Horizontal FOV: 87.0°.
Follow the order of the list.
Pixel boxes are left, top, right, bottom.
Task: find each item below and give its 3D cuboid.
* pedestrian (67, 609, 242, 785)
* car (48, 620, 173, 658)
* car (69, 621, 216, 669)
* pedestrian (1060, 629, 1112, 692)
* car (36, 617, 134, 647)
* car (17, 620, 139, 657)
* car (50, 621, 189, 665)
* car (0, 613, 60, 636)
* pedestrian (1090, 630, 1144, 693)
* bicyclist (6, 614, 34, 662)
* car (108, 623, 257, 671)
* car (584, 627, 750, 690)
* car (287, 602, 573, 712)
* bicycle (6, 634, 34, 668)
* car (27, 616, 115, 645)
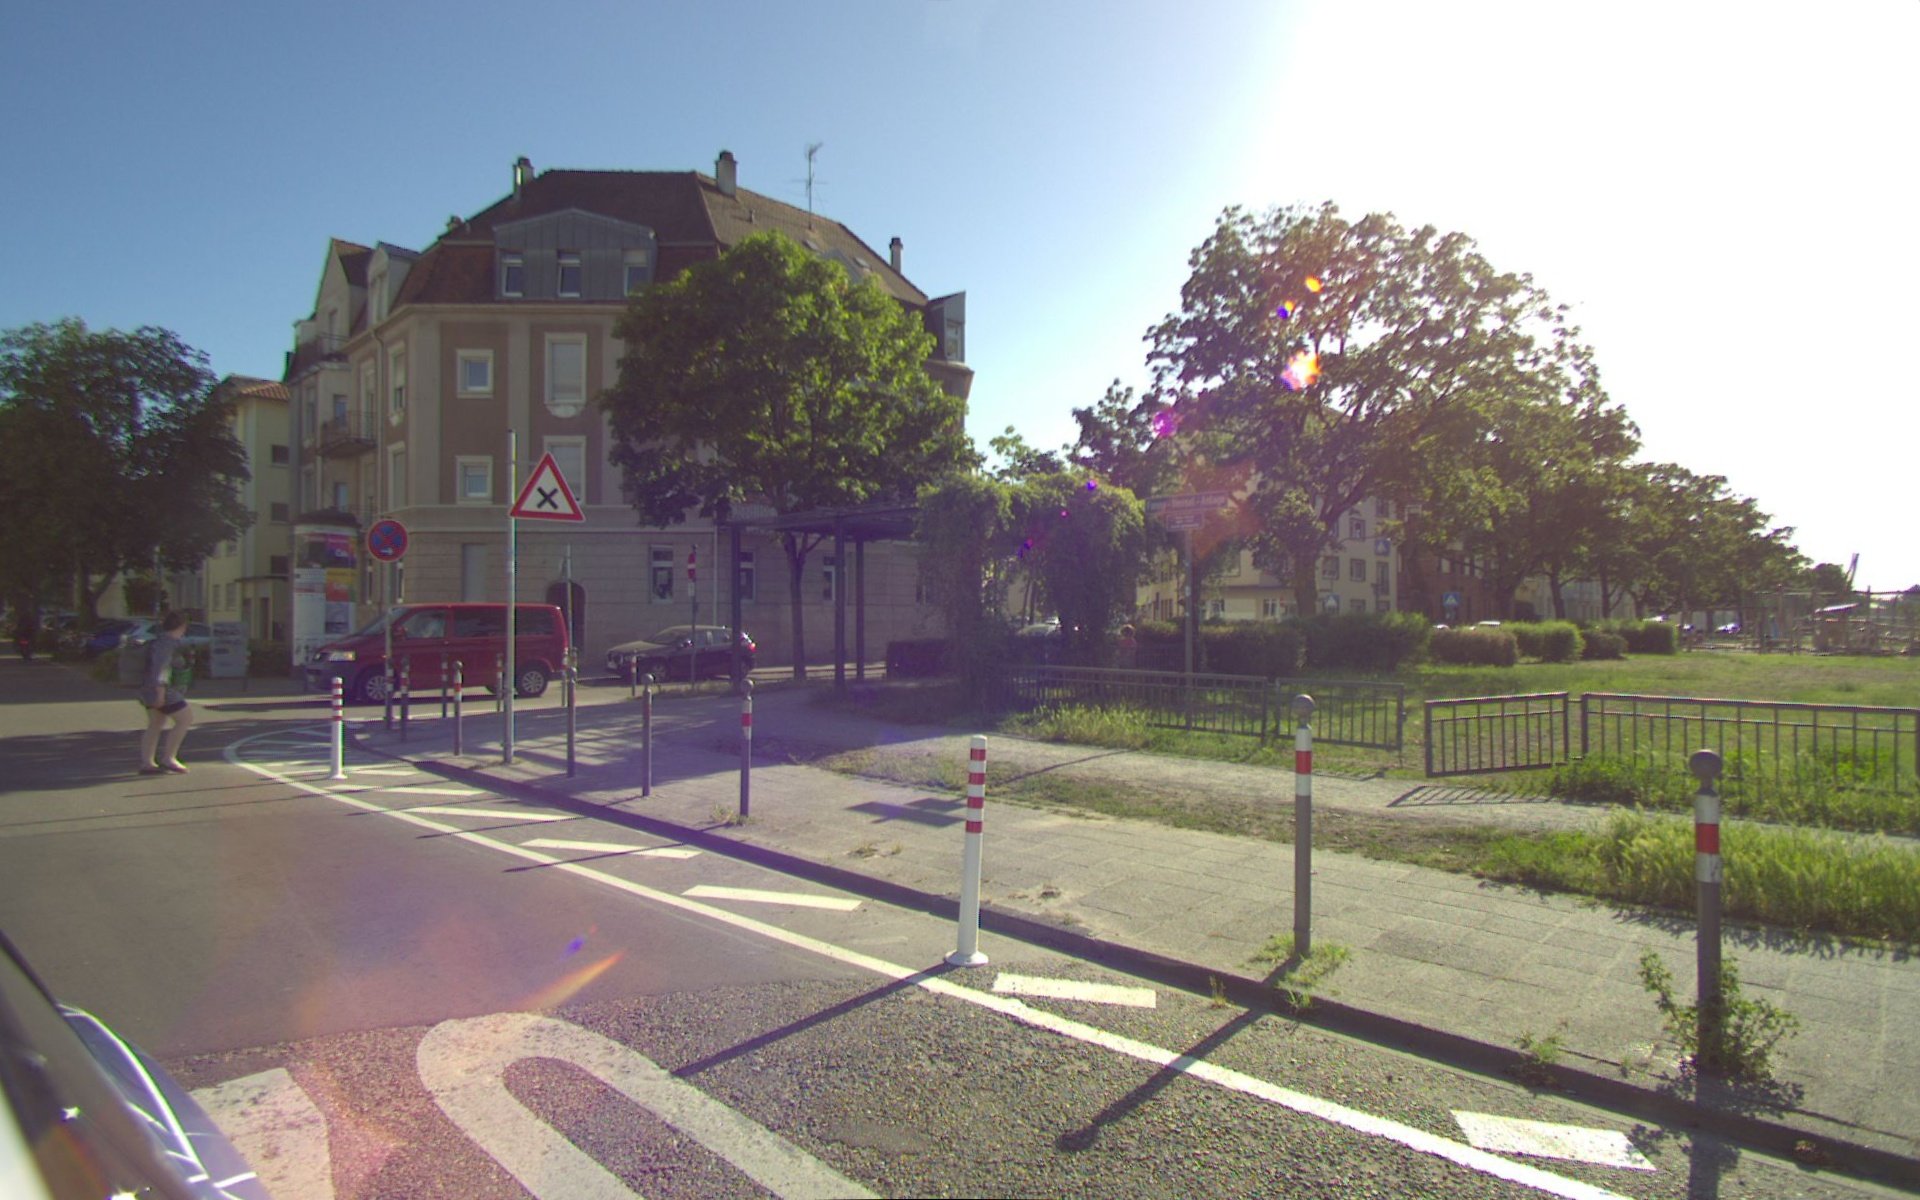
[{"bbox_3d":[-8.283,0.958,10.440,0.909,1.687,1.080,-1,-3,27],"label":"pedestrian"},{"bbox_3d":[-36.133,1.626,43.145,1.686,1.506,3.751,-1,-1,31],"label":"car"},{"bbox_3d":[-28.306,1.526,35.123,1.691,1.506,3.739,-1,-1,41],"label":"car"},{"bbox_3d":[2.411,1.136,19.278,0.833,1.158,0.599,2,-2,-45],"label":"pedestrian"},{"bbox_3d":[-46.451,1.676,53.781,1.690,1.506,3.742,-1,-1,39],"label":"car"},{"bbox_3d":[-38.991,1.654,44.825,1.686,1.506,3.751,-1,-1,31],"label":"car"},{"bbox_3d":[-31.939,1.600,38.556,1.686,1.506,3.751,-1,-1,31],"label":"car"},{"bbox_3d":[-72.924,1.908,79.296,1.692,1.716,3.481,-1,-1,42],"label":"car"},{"bbox_3d":[2.919,1.124,18.823,0.862,1.147,0.599,2,-2,-45],"label":"pedestrian"},{"bbox_3d":[-32.266,1.290,34.742,0.635,1.632,0.637,2,-2,-45],"label":"bicyclist"},{"bbox_3d":[-26.193,1.538,34.175,1.691,1.455,3.739,-1,-1,41],"label":"car"},{"bbox_3d":[-7.948,1.548,27.734,1.867,1.494,3.960,3,1,41],"label":"car"},{"bbox_3d":[-10.684,1.084,20.699,1.898,1.975,4.815,1,-1,44],"label":"car"},{"bbox_3d":[-32.249,1.743,34.712,0.635,1.117,2.066,2,-2,-45],"label":"bicycle"},{"bbox_3d":[-49.717,1.678,56.649,1.690,1.506,3.484,-1,-1,39],"label":"car"}]
